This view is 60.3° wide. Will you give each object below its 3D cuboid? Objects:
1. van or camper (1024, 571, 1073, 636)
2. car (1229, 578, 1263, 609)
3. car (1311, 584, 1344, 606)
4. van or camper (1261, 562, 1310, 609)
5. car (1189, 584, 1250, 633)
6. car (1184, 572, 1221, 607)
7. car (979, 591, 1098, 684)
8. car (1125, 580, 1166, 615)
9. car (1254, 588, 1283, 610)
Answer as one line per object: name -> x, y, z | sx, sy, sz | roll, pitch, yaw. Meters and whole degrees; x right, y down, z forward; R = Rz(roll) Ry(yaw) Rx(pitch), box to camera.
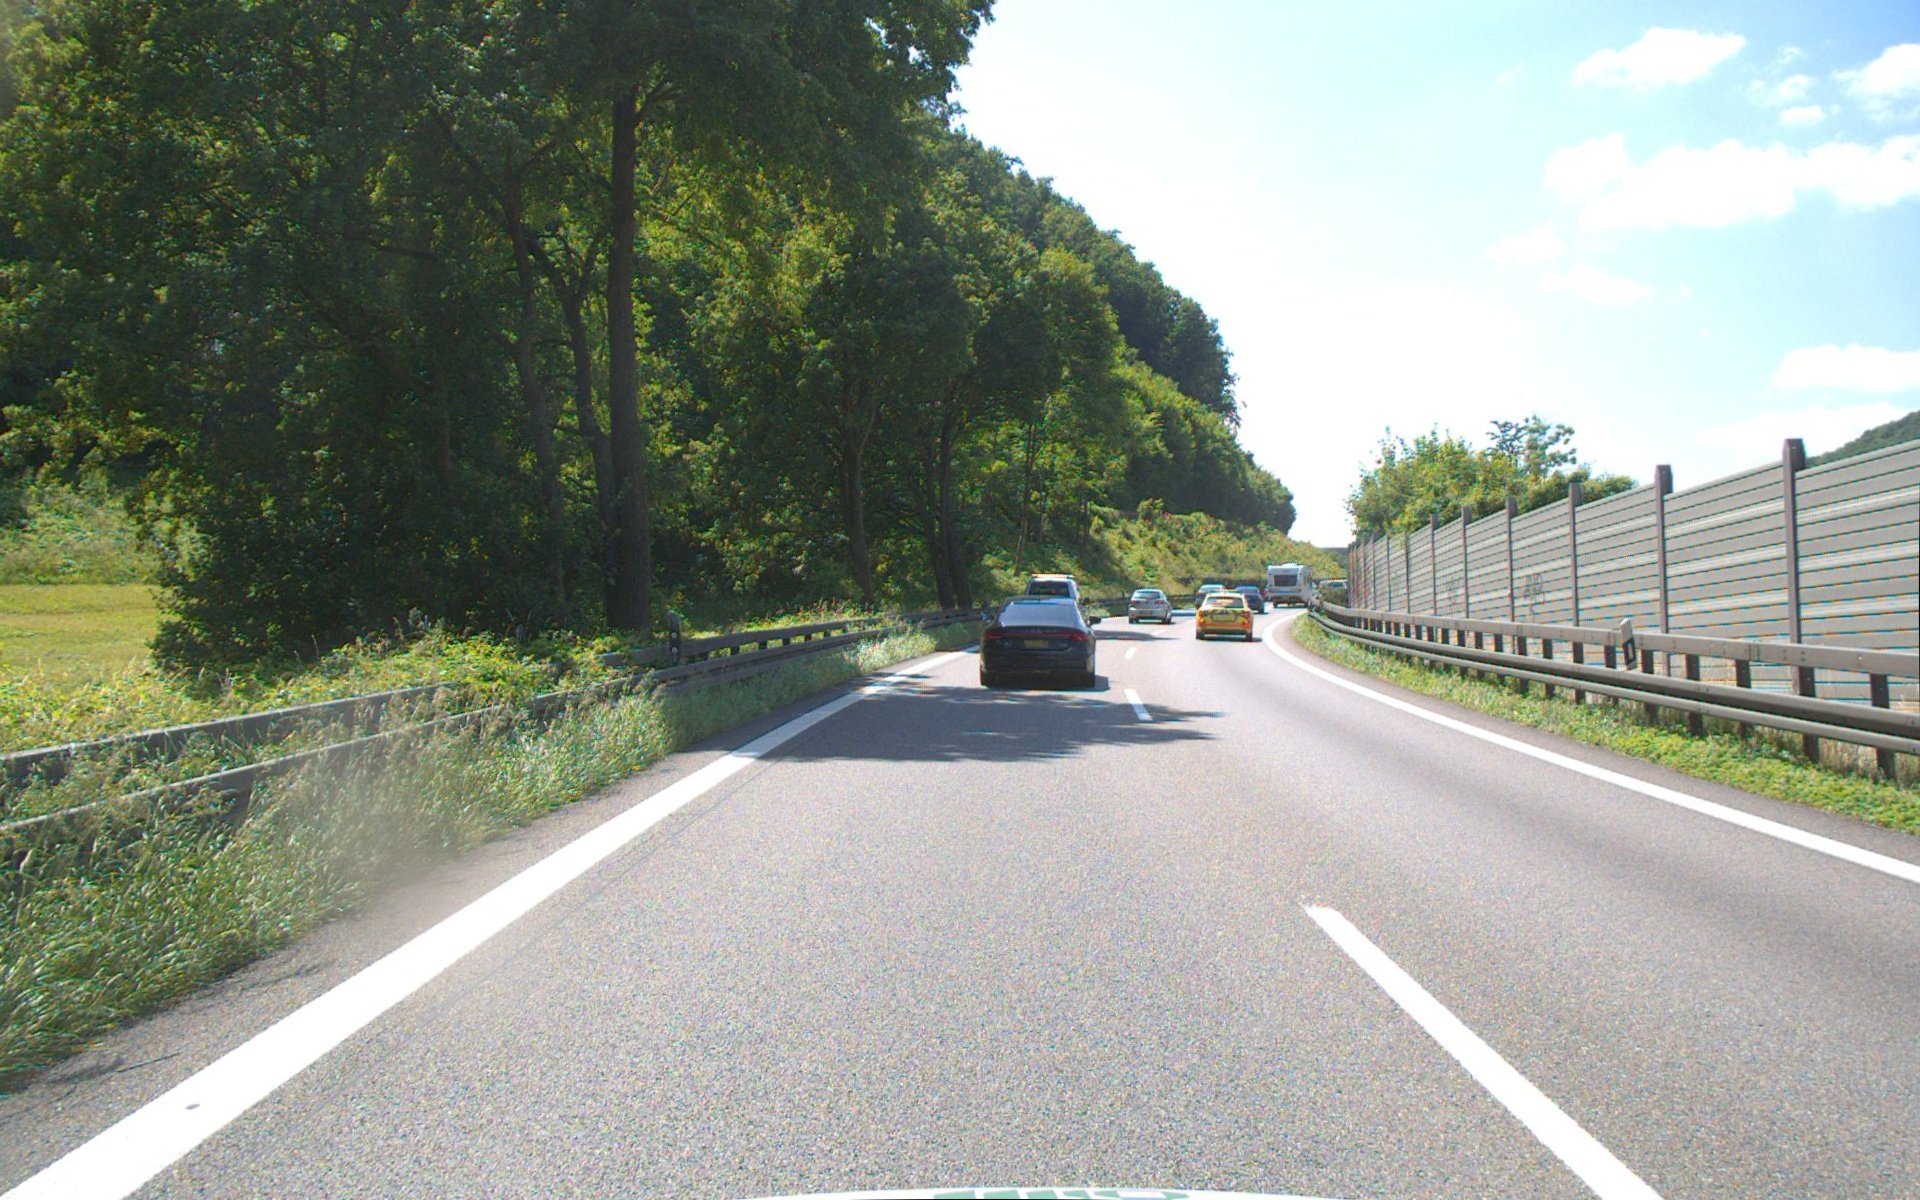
van or camper -> 2.580, 0.109, 48.742 | 1.362, 1.847, 4.001 | 0, 0, 2
car -> 15.760, -0.369, 91.118 | 1.735, 1.665, 4.004 | -1, 0, 9
car -> 30.007, -0.388, 134.851 | 1.953, 1.747, 3.999 | -1, 1, 23
van or camper -> 21.079, -0.892, 106.924 | 2.404, 2.969, 6.128 | 0, 0, 18
car -> 8.319, 0.273, 52.747 | 1.823, 1.514, 4.003 | 0, 0, 10
car -> 14.940, -0.659, 101.836 | 1.951, 2.049, 4.004 | -1, 1, 13
car -> 1.339, 0.601, 27.417 | 1.799, 1.373, 4.002 | 2, -1, 4
car -> 7.987, -0.100, 70.980 | 1.710, 1.456, 4.003 | 0, 0, 7
car -> 24.730, -0.082, 132.445 | 1.803, 1.747, 4.001 | 0, 0, 19
